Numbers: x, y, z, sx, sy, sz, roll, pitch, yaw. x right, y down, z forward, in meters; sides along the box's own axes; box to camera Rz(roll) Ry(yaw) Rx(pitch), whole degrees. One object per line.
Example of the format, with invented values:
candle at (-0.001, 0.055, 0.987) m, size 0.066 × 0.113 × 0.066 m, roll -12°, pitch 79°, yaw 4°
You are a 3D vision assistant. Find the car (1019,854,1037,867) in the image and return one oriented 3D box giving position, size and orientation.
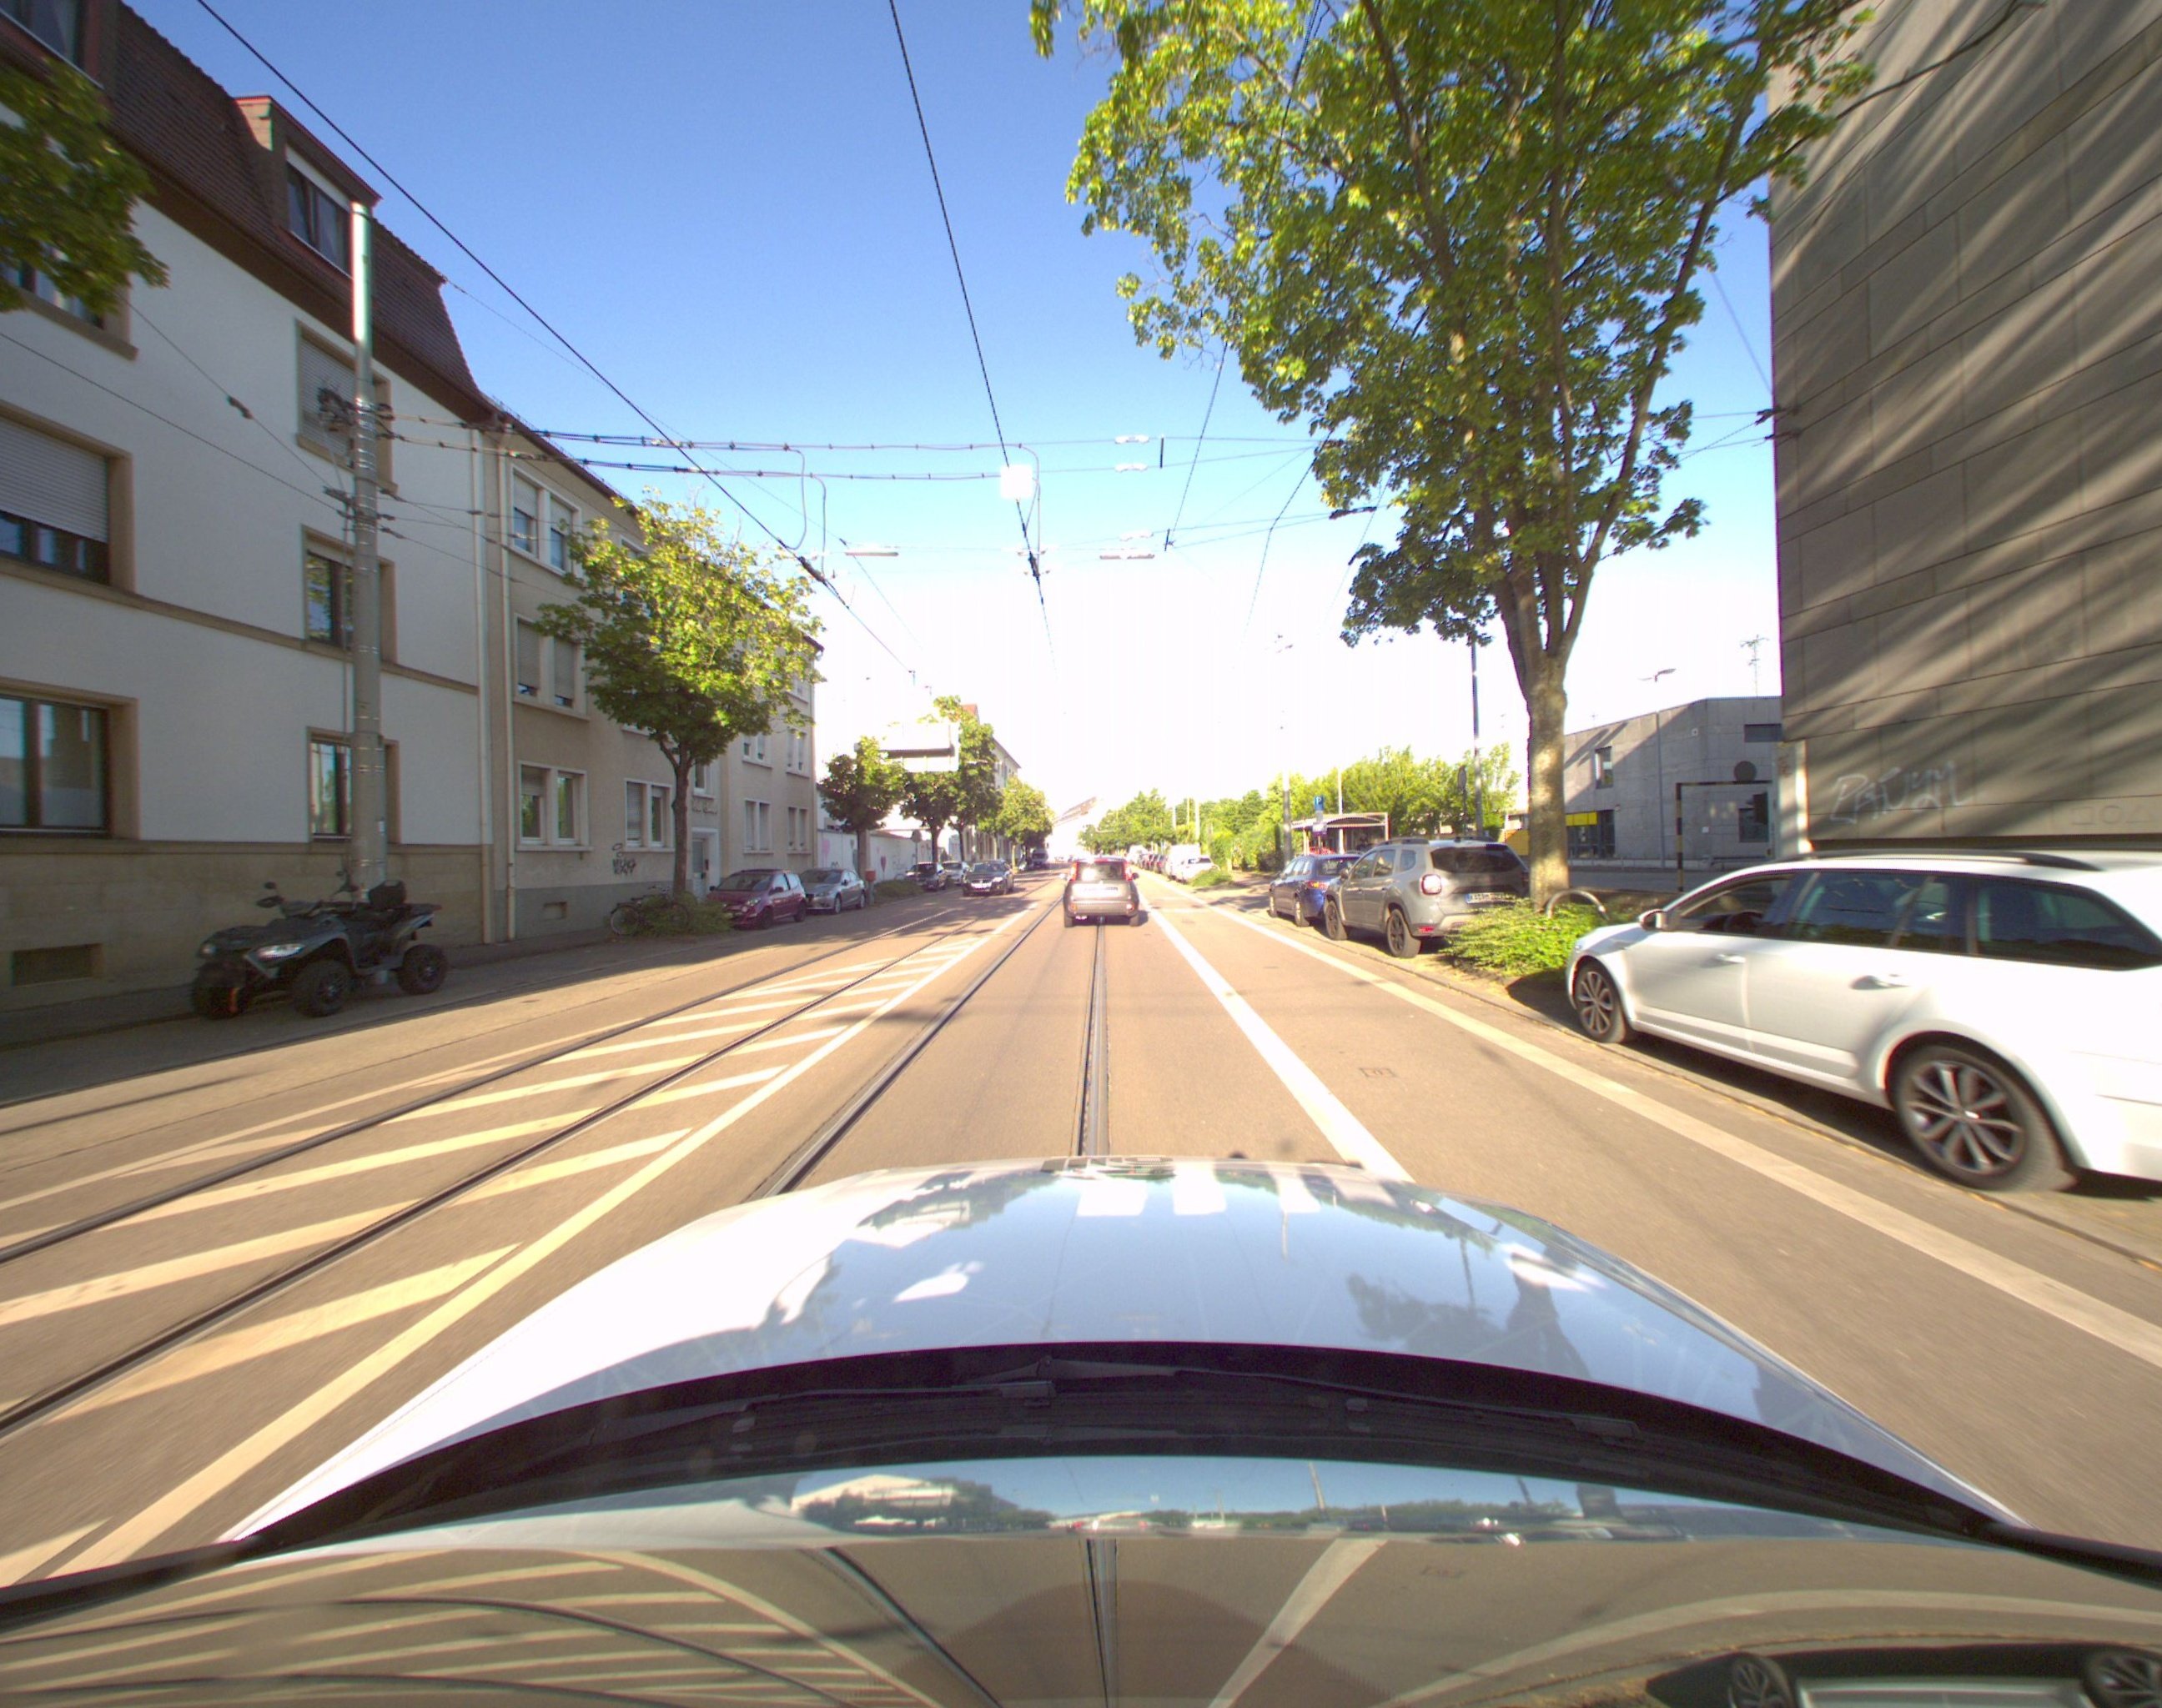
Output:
car at (-6.159, 0.784, 95.581) m, size 1.645 × 1.425 × 4.191 m, roll 0°, pitch 0°, yaw 2°

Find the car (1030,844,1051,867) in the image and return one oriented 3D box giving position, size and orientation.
car at (-5.087, 0.195, 103.123) m, size 2.009 × 2.826 × 6.036 m, roll 0°, pitch -1°, yaw 3°

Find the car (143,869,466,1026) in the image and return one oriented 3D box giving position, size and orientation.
car at (-9.138, 1.013, 9.854) m, size 1.350 × 1.502 × 2.549 m, roll 0°, pitch 2°, yaw 2°

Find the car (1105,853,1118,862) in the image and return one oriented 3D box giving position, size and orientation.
car at (5.263, 0.613, 140.003) m, size 1.686 × 1.530 × 3.992 m, roll -3°, pitch 0°, yaw -5°

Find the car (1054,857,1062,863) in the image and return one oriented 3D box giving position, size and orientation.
car at (-6.221, 1.528, 219.661) m, size 1.583 × 1.405 × 3.365 m, roll -5°, pitch 0°, yaw -9°

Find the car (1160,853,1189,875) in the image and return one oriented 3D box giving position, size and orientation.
car at (6.548, 0.690, 57.366) m, size 1.865 × 1.473 × 4.079 m, roll 0°, pitch 0°, yaw 4°

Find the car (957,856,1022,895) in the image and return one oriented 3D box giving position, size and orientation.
car at (-3.736, 0.852, 34.057) m, size 1.757 × 1.463 × 4.754 m, roll -2°, pitch -1°, yaw 5°

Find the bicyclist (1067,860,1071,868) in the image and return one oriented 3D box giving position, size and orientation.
bicyclist at (-2.774, 2.270, 186.053) m, size 0.715 × 2.014 × 0.829 m, roll 0°, pitch -1°, yaw -10°

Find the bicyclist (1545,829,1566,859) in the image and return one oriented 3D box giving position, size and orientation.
bicyclist at (22.037, -0.457, 37.818) m, size 0.721 × 1.384 × 0.585 m, roll -1°, pitch -1°, yaw 45°

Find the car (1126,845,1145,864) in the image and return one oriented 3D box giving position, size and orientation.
car at (8.057, 0.060, 120.751) m, size 2.173 × 2.665 × 6.090 m, roll -4°, pitch -1°, yaw 0°

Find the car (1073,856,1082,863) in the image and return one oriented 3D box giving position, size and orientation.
car at (-0.902, 1.318, 189.649) m, size 1.655 × 1.571 × 3.488 m, roll 0°, pitch -1°, yaw -9°

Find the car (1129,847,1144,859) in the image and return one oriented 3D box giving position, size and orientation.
car at (7.751, -0.080, 113.901) m, size 1.904 × 1.530 × 4.601 m, roll -2°, pitch 0°, yaw 1°

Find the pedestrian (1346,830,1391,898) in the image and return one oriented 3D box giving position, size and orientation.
pedestrian at (8.079, 0.278, 22.957) m, size 0.668 × 1.789 × 1.304 m, roll -5°, pitch -1°, yaw 1°

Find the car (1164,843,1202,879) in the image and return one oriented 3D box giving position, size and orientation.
car at (6.066, 0.431, 48.934) m, size 1.846 × 1.991 × 5.246 m, roll -2°, pitch 0°, yaw 3°

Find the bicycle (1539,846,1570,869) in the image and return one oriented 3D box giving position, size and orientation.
bicycle at (21.957, 0.165, 37.750) m, size 2.021 × 1.071 × 0.745 m, roll 0°, pitch -1°, yaw -44°

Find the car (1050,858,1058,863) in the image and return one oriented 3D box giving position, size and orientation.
car at (-7.682, 1.754, 231.542) m, size 1.583 × 1.405 × 3.365 m, roll 0°, pitch -1°, yaw -9°

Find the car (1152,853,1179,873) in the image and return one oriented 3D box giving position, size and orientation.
car at (6.421, 0.670, 62.179) m, size 1.817 × 1.484 × 4.604 m, roll 0°, pitch 0°, yaw 2°

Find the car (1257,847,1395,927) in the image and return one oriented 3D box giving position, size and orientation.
car at (5.178, 0.649, 17.856) m, size 1.696 × 1.481 × 4.660 m, roll -2°, pitch -1°, yaw 1°

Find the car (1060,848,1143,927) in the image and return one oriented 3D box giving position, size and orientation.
car at (0.468, 0.689, 18.730) m, size 1.644 × 1.541 × 4.236 m, roll -2°, pitch 0°, yaw 1°

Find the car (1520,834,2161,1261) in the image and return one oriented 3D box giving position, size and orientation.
car at (4.671, 0.649, 4.862) m, size 1.706 × 1.490 × 4.625 m, roll 0°, pitch 0°, yaw 1°

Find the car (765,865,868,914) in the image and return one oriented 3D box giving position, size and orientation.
car at (-8.538, 1.098, 26.694) m, size 1.866 × 1.429 × 4.294 m, roll 0°, pitch 0°, yaw 2°

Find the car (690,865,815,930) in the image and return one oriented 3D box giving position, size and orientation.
car at (-8.532, 1.074, 21.527) m, size 1.566 × 1.505 × 4.001 m, roll 0°, pitch 0°, yaw 2°

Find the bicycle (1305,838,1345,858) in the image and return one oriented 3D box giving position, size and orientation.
bicycle at (12.182, -0.290, 40.775) m, size 1.883 × 1.008 × 0.579 m, roll -1°, pitch -1°, yaw 13°

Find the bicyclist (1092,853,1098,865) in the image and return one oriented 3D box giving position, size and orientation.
bicyclist at (2.147, 0.785, 125.530) m, size 0.699 × 1.759 × 0.755 m, roll 0°, pitch -1°, yaw -10°

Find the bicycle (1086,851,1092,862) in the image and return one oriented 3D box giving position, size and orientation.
bicycle at (1.272, 0.459, 134.420) m, size 0.675 × 1.747 × 2.151 m, roll 0°, pitch -1°, yaw -9°

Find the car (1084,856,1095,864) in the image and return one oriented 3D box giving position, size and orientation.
car at (1.792, 1.231, 171.536) m, size 1.634 × 1.508 × 3.388 m, roll -4°, pitch 0°, yaw -8°

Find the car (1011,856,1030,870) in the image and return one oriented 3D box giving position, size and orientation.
car at (-6.630, 0.969, 89.064) m, size 1.645 × 1.491 × 4.002 m, roll 0°, pitch 0°, yaw 2°

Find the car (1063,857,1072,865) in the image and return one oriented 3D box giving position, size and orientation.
car at (-3.286, 1.744, 201.691) m, size 1.655 × 1.944 × 4.650 m, roll 0°, pitch -1°, yaw -9°

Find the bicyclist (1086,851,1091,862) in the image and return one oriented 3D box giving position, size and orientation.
bicyclist at (1.248, 0.441, 134.483) m, size 0.699 × 1.759 × 0.755 m, roll 0°, pitch -1°, yaw -10°

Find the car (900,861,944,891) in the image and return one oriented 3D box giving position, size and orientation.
car at (-8.168, 1.092, 42.171) m, size 1.770 × 1.486 × 4.297 m, roll 0°, pitch 0°, yaw -5°

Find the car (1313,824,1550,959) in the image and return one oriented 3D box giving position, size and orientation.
car at (5.082, 0.493, 12.522) m, size 1.737 × 1.712 × 4.275 m, roll 0°, pitch 0°, yaw -1°

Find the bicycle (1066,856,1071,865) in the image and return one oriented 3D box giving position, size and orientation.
bicycle at (-2.774, 1.498, 186.088) m, size 0.741 × 2.014 × 2.802 m, roll 0°, pitch -1°, yaw -9°

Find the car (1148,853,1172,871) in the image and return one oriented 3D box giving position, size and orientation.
car at (6.831, 0.700, 70.665) m, size 1.817 × 1.452 × 4.644 m, roll -2°, pitch 0°, yaw 2°

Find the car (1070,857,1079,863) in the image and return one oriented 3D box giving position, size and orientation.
car at (-1.599, 1.404, 194.091) m, size 1.655 × 1.571 × 3.864 m, roll 0°, pitch -1°, yaw -9°

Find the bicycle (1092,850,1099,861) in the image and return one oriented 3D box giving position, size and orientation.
bicycle at (2.170, 0.263, 125.483) m, size 0.675 × 1.747 × 2.151 m, roll 0°, pitch -1°, yaw -9°

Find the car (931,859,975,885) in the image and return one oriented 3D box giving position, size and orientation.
car at (-7.749, 1.067, 49.794) m, size 1.858 × 1.490 × 4.662 m, roll 0°, pitch 0°, yaw 1°

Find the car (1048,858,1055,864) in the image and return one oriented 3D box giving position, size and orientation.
car at (-8.593, 2.000, 237.187) m, size 1.583 × 1.599 × 3.365 m, roll 0°, pitch -1°, yaw -9°

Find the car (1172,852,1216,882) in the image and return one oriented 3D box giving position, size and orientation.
car at (5.979, 0.692, 43.618) m, size 1.670 × 1.418 × 4.501 m, roll -3°, pitch 0°, yaw 0°

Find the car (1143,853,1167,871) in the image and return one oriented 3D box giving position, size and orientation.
car at (6.907, 0.746, 76.591) m, size 1.818 × 1.493 × 3.814 m, roll -4°, pitch 0°, yaw 0°
